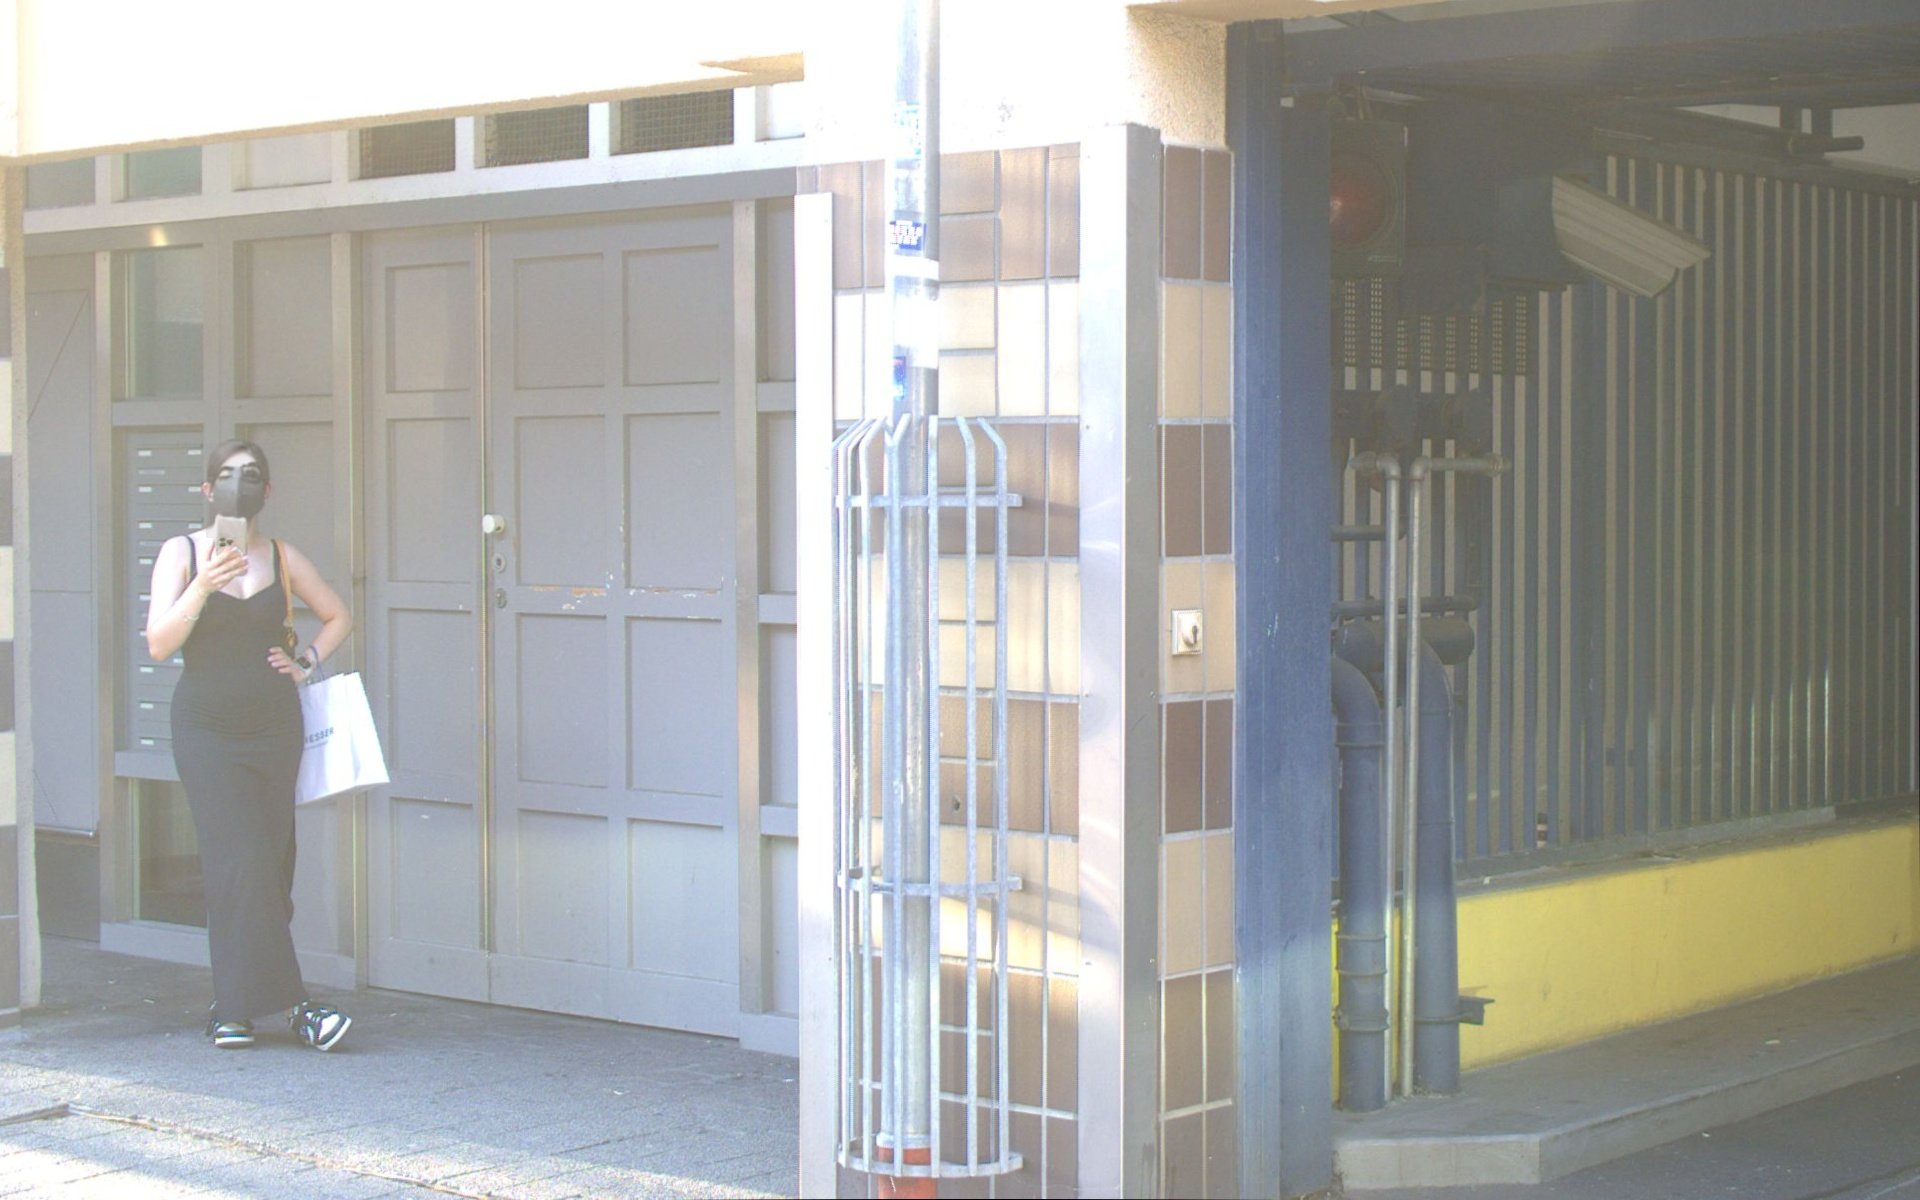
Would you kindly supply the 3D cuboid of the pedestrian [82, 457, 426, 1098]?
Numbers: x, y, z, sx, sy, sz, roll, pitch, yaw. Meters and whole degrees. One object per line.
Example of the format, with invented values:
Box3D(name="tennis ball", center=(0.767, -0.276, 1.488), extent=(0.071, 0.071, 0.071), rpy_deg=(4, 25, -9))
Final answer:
Box3D(name="pedestrian", center=(-1.805, 0.422, 8.770), extent=(0.776, 1.567, 0.534), rpy_deg=(0, 2, -22))
